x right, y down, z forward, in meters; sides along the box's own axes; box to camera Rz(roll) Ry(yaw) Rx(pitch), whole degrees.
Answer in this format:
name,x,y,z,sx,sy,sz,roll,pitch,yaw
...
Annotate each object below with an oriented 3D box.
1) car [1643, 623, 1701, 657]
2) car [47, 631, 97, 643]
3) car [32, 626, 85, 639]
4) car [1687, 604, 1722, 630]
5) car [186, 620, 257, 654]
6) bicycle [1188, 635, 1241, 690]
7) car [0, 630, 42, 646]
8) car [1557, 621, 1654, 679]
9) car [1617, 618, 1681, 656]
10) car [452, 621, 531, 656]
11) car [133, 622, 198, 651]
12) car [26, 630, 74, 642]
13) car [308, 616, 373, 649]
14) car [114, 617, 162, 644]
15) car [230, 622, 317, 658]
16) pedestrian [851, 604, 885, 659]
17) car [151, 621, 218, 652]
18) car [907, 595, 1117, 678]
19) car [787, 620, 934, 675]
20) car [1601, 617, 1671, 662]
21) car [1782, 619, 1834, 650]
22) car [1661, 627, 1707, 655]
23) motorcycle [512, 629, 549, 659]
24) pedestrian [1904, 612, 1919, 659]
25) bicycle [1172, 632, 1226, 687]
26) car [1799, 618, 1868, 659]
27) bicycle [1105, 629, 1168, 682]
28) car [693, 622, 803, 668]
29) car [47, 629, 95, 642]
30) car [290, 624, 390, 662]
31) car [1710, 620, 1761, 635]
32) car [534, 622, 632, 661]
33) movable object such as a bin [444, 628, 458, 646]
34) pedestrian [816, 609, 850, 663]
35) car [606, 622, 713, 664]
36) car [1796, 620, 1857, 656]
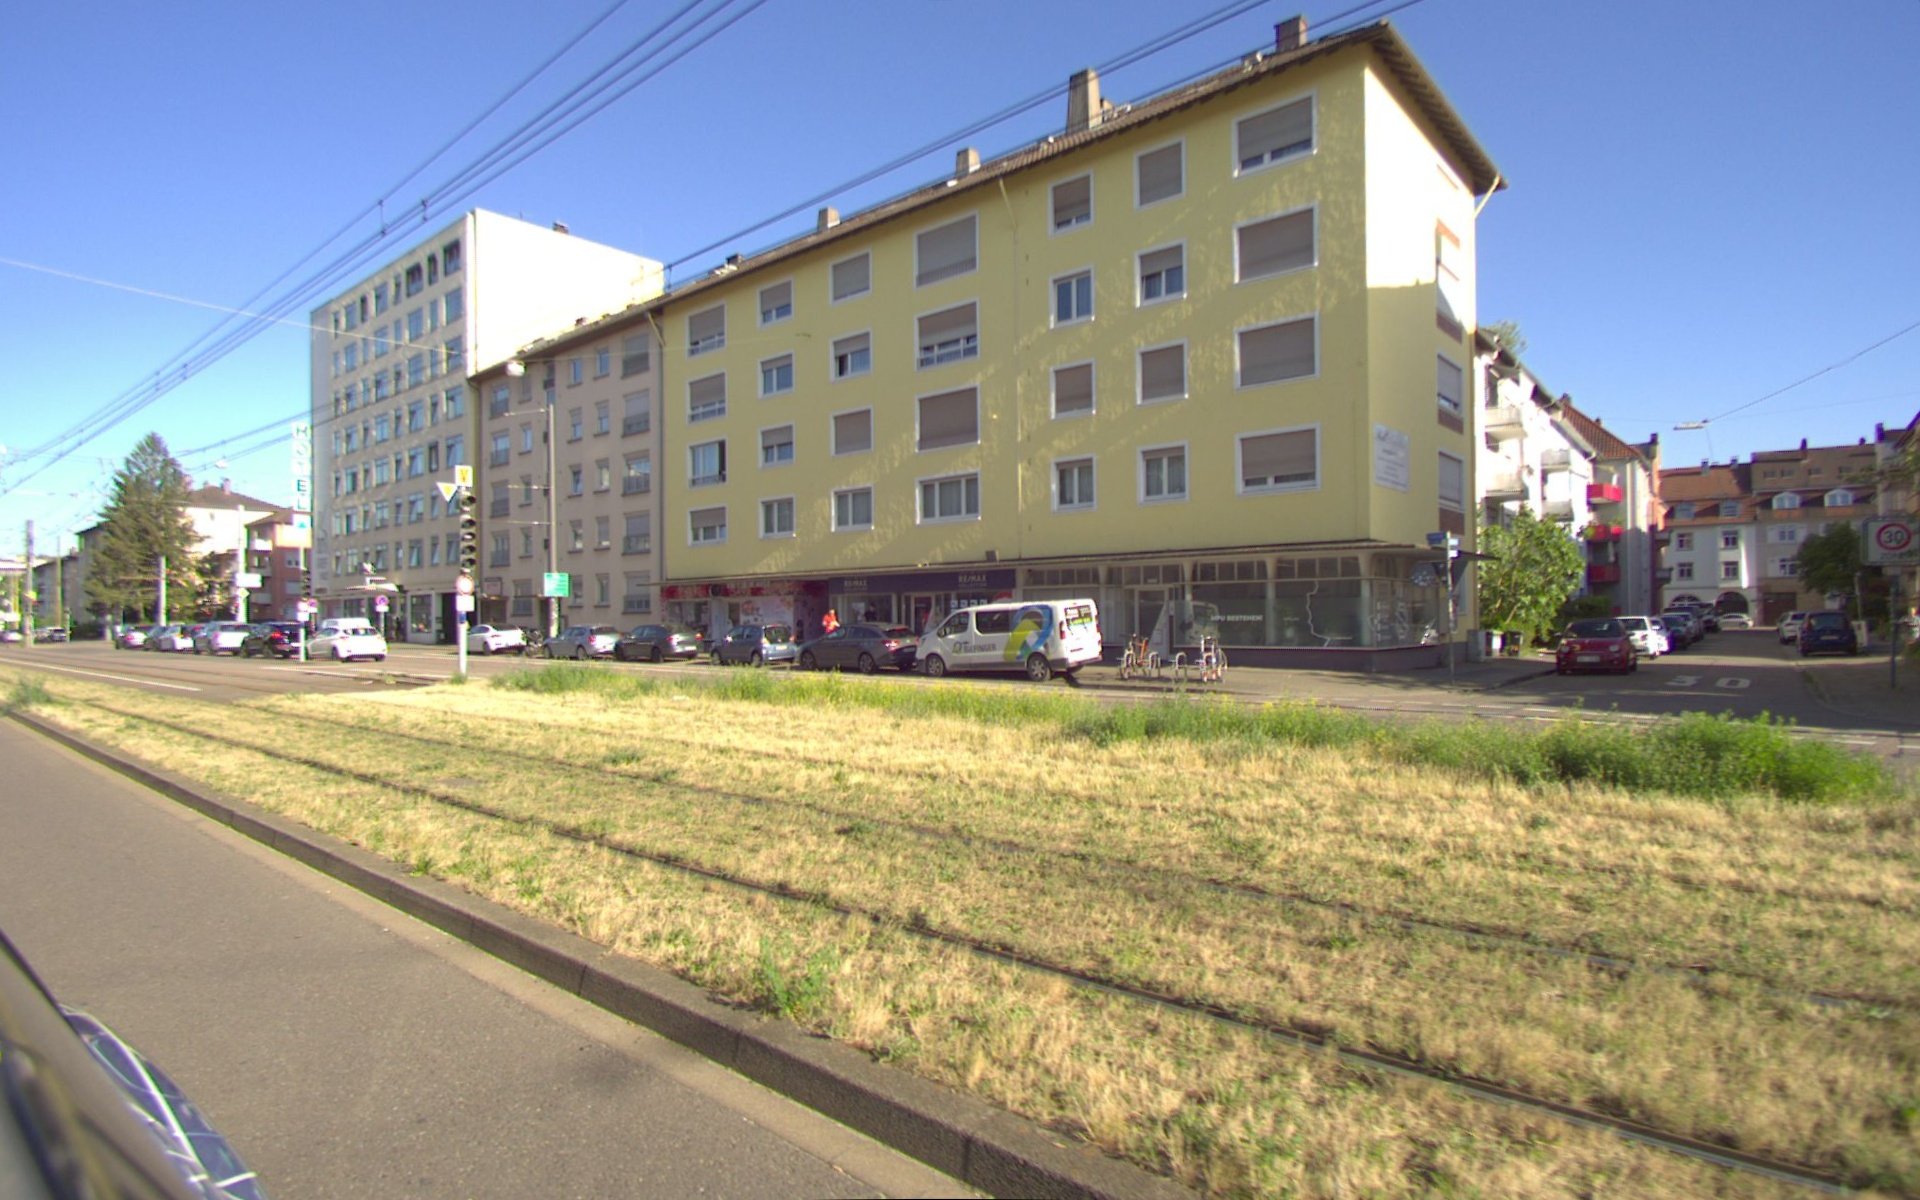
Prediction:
name,x,y,z,sx,sy,sz,roll,pitch,yaw
car,30.989,1.736,44.007,1.771,1.424,3.948,-2,-3,39
car,-98.225,4.076,111.945,1.737,1.342,3.946,-2,-2,40
car,-94.967,3.404,106.597,1.737,1.342,3.946,-2,-2,40
car,58.640,1.346,79.695,2.013,1.925,4.442,-2,-3,38
car,-35.563,1.784,48.675,4.605,1.593,1.764,-2,-3,41
bicycle,5.903,1.421,23.410,0.390,1.114,1.800,-2,1,41
car,-92.892,3.747,100.099,1.693,1.397,3.725,-3,1,-18
car,17.477,1.333,27.331,1.771,1.424,3.948,-2,-3,39
car,27.309,1.485,40.041,1.771,1.424,3.948,-2,-3,39
car,-22.081,1.790,47.639,4.197,1.497,1.740,-2,1,41
car,-45.579,2.117,58.029,4.362,1.562,1.974,-2,-4,39
car,-105.566,4.199,117.382,1.737,1.342,3.946,-2,-2,40
car,-38.431,2.012,62.719,4.665,1.912,1.974,-2,1,39
car,-50.657,1.904,62.358,3.997,1.571,1.596,-2,-4,41
car,-30.028,1.751,44.230,4.406,1.540,1.767,-2,-3,36
pedestrian,-3.190,1.094,35.214,0.923,1.874,0.664,-2,1,41
car,-40.953,1.938,53.418,4.236,1.562,1.838,-2,-4,39
car,1.305,0.957,27.258,5.493,1.964,1.975,-2,1,38
car,-3.107,1.429,31.045,4.593,1.485,1.765,-2,1,41
car,24.506,1.441,36.631,1.771,1.542,3.948,-2,-3,39
car,41.301,1.691,49.350,1.771,1.424,3.948,-2,-3,39
car,38.329,2.181,53.550,1.771,1.424,3.948,-2,-3,39
motorcycle,-18.999,1.939,44.844,0.481,1.147,2.107,-2,1,7
pedestrian,31.738,1.177,33.460,0.665,1.505,0.582,-2,1,39
bicycle,5.600,1.369,23.682,0.390,1.114,1.800,-2,1,41
car,32.772,1.455,38.039,1.771,1.424,3.948,-2,-3,39
bicycle,4.343,1.343,24.815,0.472,1.114,2.076,-2,1,41
car,-7.363,1.522,35.014,3.766,1.395,1.765,-2,1,41
car,-100.799,4.025,114.785,1.737,1.342,3.946,-2,-2,40
car,-24.638,1.705,40.175,4.405,1.395,1.817,-2,-3,35
car,77.682,2.769,101.464,3.992,1.424,1.713,-2,-3,36
car,-15.599,1.699,41.801,4.410,1.395,1.766,-2,1,39
movable object such as a bin,-31.267,2.270,62.123,0.775,1.059,0.538,-2,-3,43
pedestrian,-4.290,1.216,34.236,0.844,1.756,0.664,-2,1,41
car,-11.454,1.605,38.391,4.413,1.431,1.765,-2,1,41
car,36.294,1.617,42.462,1.771,1.424,3.948,-2,-3,39
